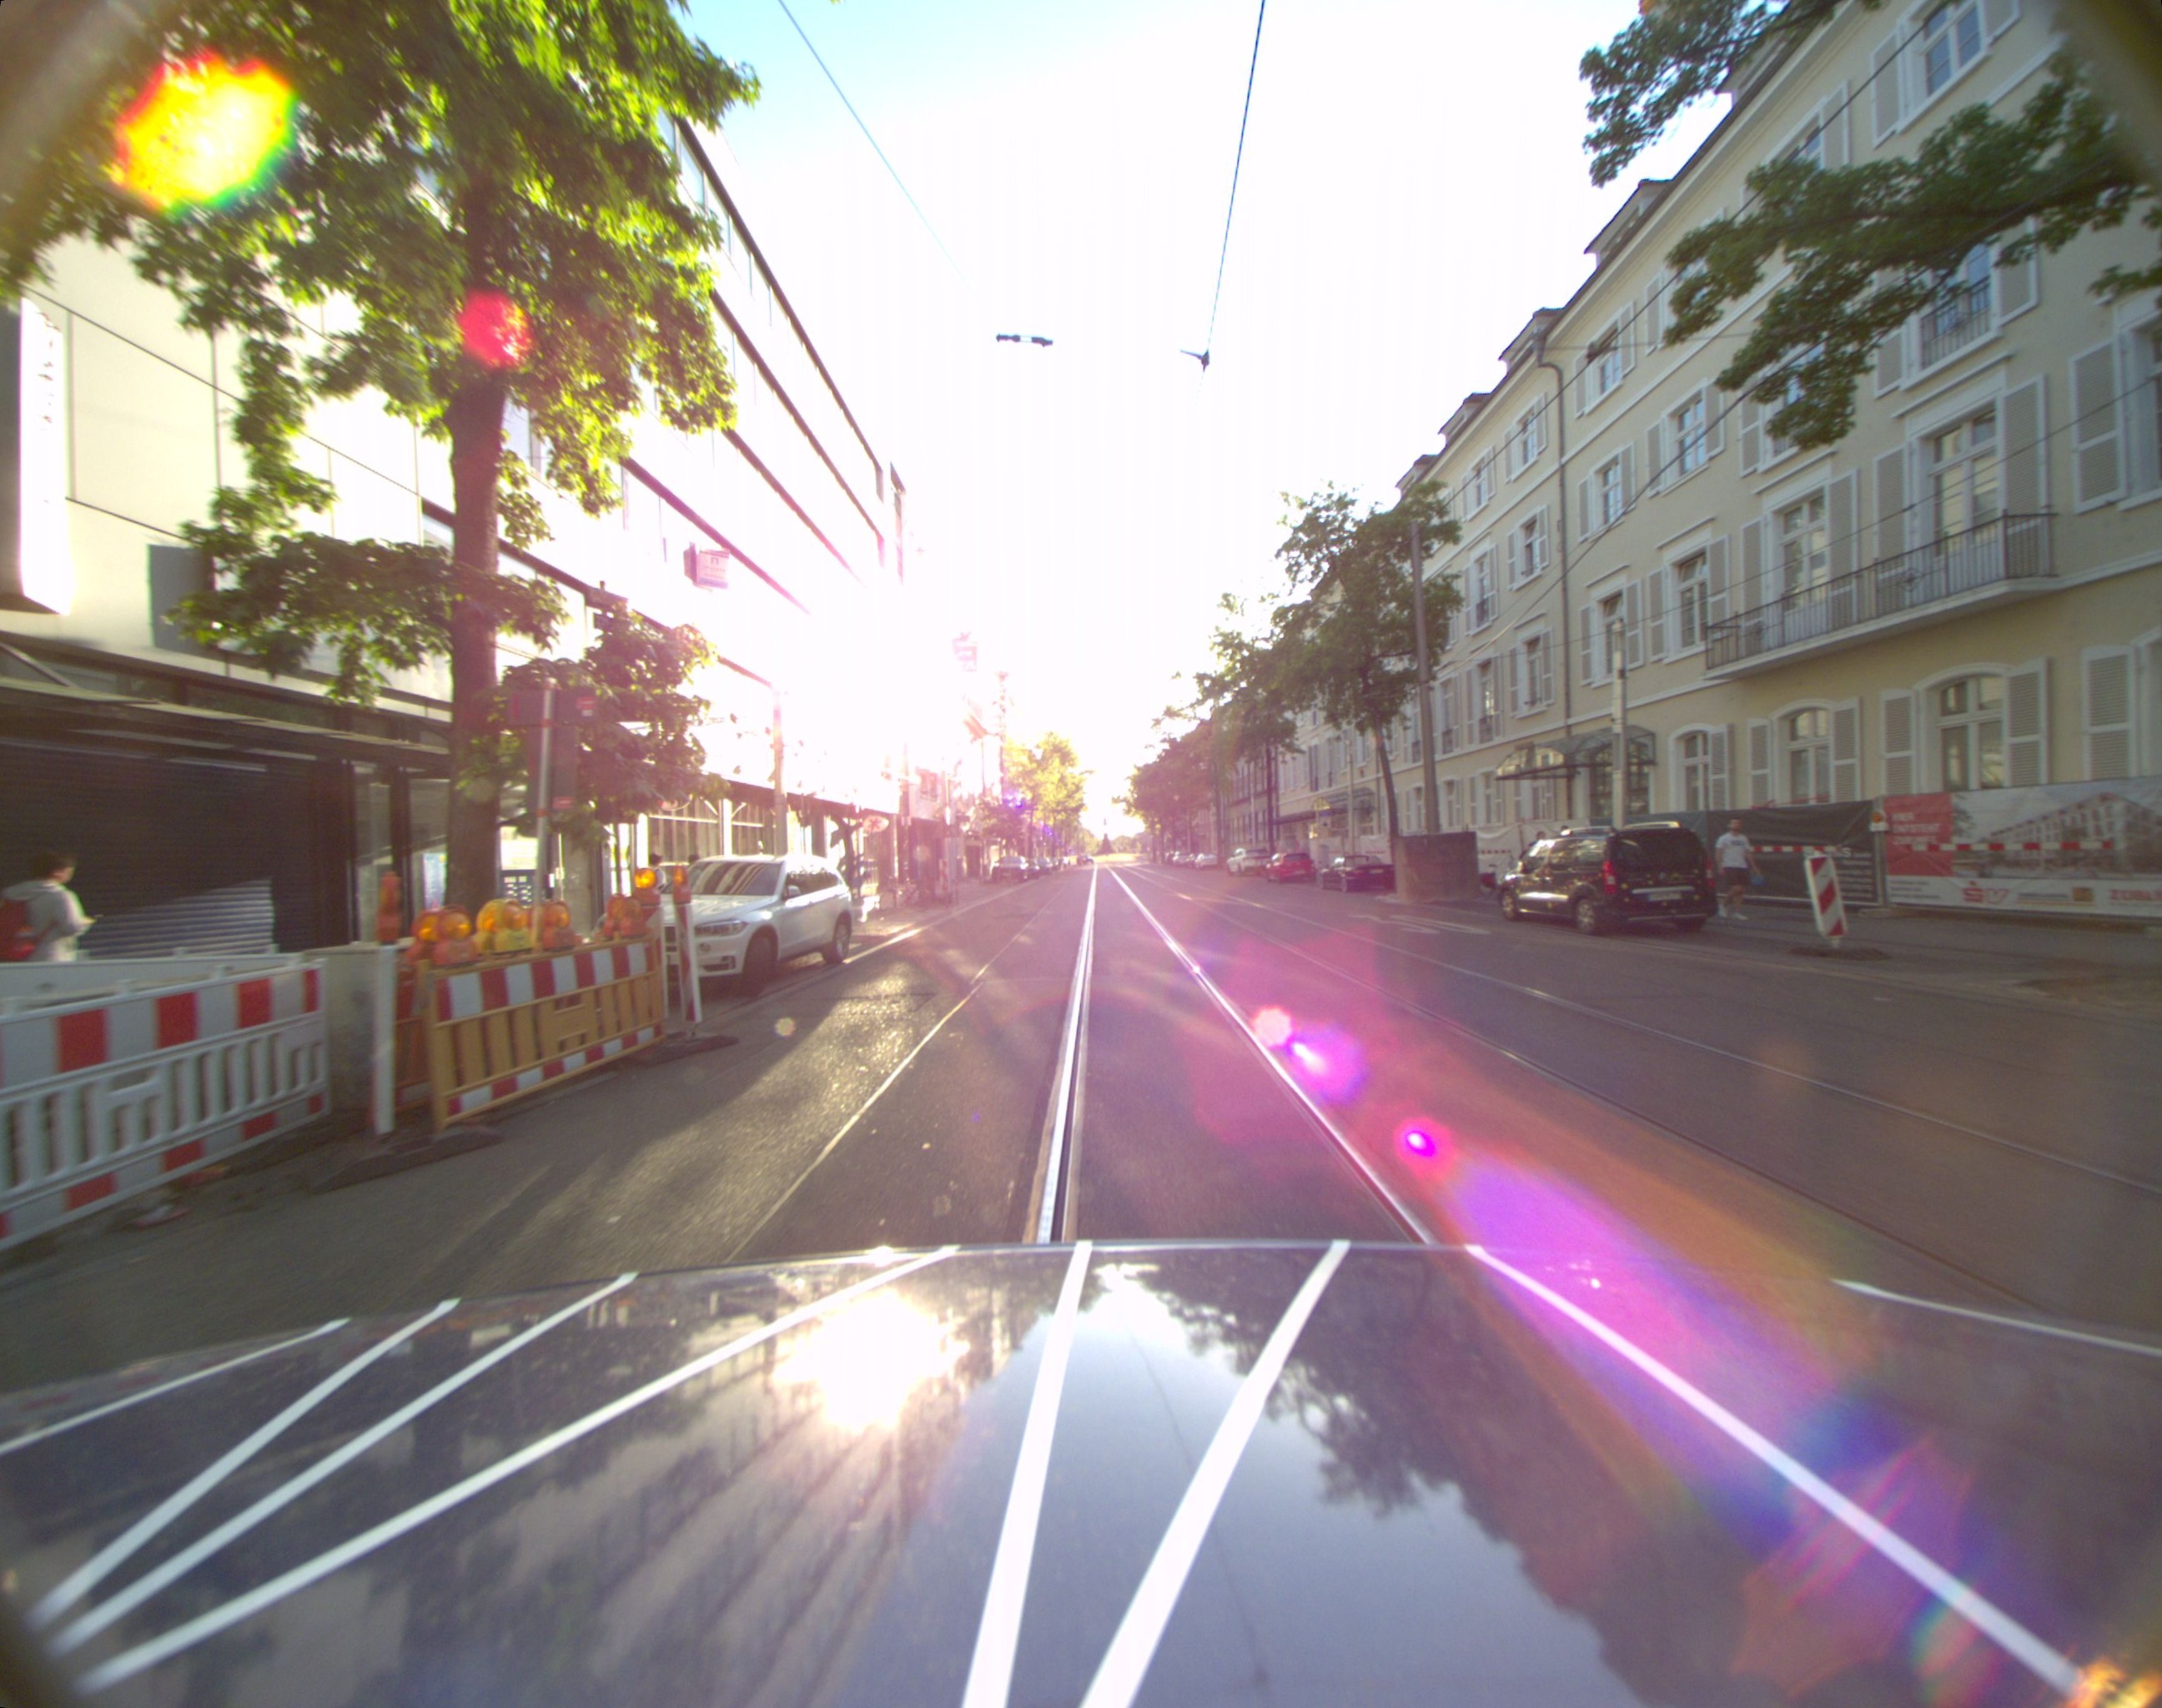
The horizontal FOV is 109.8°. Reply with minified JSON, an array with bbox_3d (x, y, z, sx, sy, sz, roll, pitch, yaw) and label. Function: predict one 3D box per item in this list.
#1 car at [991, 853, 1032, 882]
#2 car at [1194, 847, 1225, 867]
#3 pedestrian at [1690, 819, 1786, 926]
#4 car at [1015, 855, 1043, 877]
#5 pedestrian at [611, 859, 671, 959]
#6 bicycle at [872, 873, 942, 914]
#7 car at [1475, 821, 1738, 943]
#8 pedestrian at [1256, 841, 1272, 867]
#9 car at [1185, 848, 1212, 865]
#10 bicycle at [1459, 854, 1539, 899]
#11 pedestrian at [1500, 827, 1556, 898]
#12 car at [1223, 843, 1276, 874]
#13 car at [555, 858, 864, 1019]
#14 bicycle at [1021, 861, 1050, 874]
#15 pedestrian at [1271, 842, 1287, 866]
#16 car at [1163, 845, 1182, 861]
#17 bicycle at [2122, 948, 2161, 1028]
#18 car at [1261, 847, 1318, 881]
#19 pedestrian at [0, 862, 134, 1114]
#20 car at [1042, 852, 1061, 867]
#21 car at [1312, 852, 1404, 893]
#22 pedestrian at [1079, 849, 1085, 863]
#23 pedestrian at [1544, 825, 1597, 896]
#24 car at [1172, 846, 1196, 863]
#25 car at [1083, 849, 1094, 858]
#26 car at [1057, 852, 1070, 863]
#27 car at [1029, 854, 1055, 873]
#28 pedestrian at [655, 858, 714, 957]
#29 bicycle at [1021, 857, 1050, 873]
[{"bbox_3d":[-4.298,0.782,47.844,1.985,1.679,4.874,1,0,1],"label":"car"},{"bbox_3d":[10.836,0.260,64.554,1.897,1.458,4.617,-5,0,2],"label":"car"},{"bbox_3d":[11.645,0.315,13.504,0.776,1.782,0.984,-4,1,3],"label":"pedestrian"},{"bbox_3d":[-3.858,0.848,55.667,1.871,1.502,4.242,1,0,-6],"label":"car"},{"bbox_3d":[-8.245,1.014,14.259,0.690,1.820,0.635,-2,1,1],"label":"pedestrian"},{"bbox_3d":[-5.151,1.149,22.562,1.816,1.128,0.841,0,2,9],"label":"bicycle"},{"bbox_3d":[9.367,0.430,14.118,1.862,1.821,4.559,-3,0,3],"label":"car"},{"bbox_3d":[12.622,-0.025,52.396,0.746,1.732,0.933,-4,1,2],"label":"pedestrian"},{"bbox_3d":[11.127,0.201,72.437,1.745,1.458,4.342,-4,0,-1],"label":"car"},{"bbox_3d":[11.438,0.604,20.884,0.760,1.115,2.045,-5,1,-10],"label":"bicycle"},{"bbox_3d":[11.900,0.219,20.247,0.867,1.771,0.884,-4,1,1],"label":"pedestrian"},{"bbox_3d":[10.179,0.254,46.345,1.870,1.679,4.950,-4,0,-2],"label":"car"},{"bbox_3d":[-4.844,0.956,10.922,2.028,1.727,4.906,1,0,0],"label":"car"},{"bbox_3d":[-3.608,1.062,60.320,2.249,0.982,0.615,-2,1,3],"label":"bicycle"},{"bbox_3d":[13.636,0.002,52.343,0.746,1.571,0.933,-4,1,2],"label":"pedestrian"},{"bbox_3d":[11.886,-0.113,98.900,1.931,1.946,4.766,-1,0,1],"label":"car"},{"bbox_3d":[9.596,1.061,5.670,1.799,0.605,1.282,-3,0,5],"label":"bicycle"},{"bbox_3d":[9.978,0.447,36.638,1.664,1.397,4.141,-4,0,2],"label":"car"},{"bbox_3d":[-8.562,1.018,6.060,0.835,1.886,0.918,-1,1,4],"label":"pedestrian"},{"bbox_3d":[-3.174,0.564,82.617,1.798,1.502,3.986,1,0,2],"label":"car"},{"bbox_3d":[9.986,0.604,27.743,1.722,1.238,4.507,-4,0,1],"label":"car"},{"bbox_3d":[0.150,0.247,103.236,0.705,1.858,0.792,-2,1,-1],"label":"pedestrian"},{"bbox_3d":[12.911,0.166,20.066,0.721,1.802,0.876,-4,1,1],"label":"pedestrian"},{"bbox_3d":[11.342,0.039,84.033,1.952,1.731,4.766,-4,0,1],"label":"car"},{"bbox_3d":[1.354,-0.067,138.141,1.827,1.603,3.796,-1,0,2],"label":"car"},{"bbox_3d":[-2.434,0.488,106.812,1.564,1.391,3.698,1,0,2],"label":"car"},{"bbox_3d":[-3.345,0.755,65.332,1.770,1.502,4.287,-2,0,2],"label":"car"},{"bbox_3d":[-7.520,0.991,14.438,0.707,1.820,0.635,-2,1,1],"label":"pedestrian"},{"bbox_3d":[-3.720,0.891,62.200,2.325,1.181,0.751,-2,1,3],"label":"bicycle"}]
